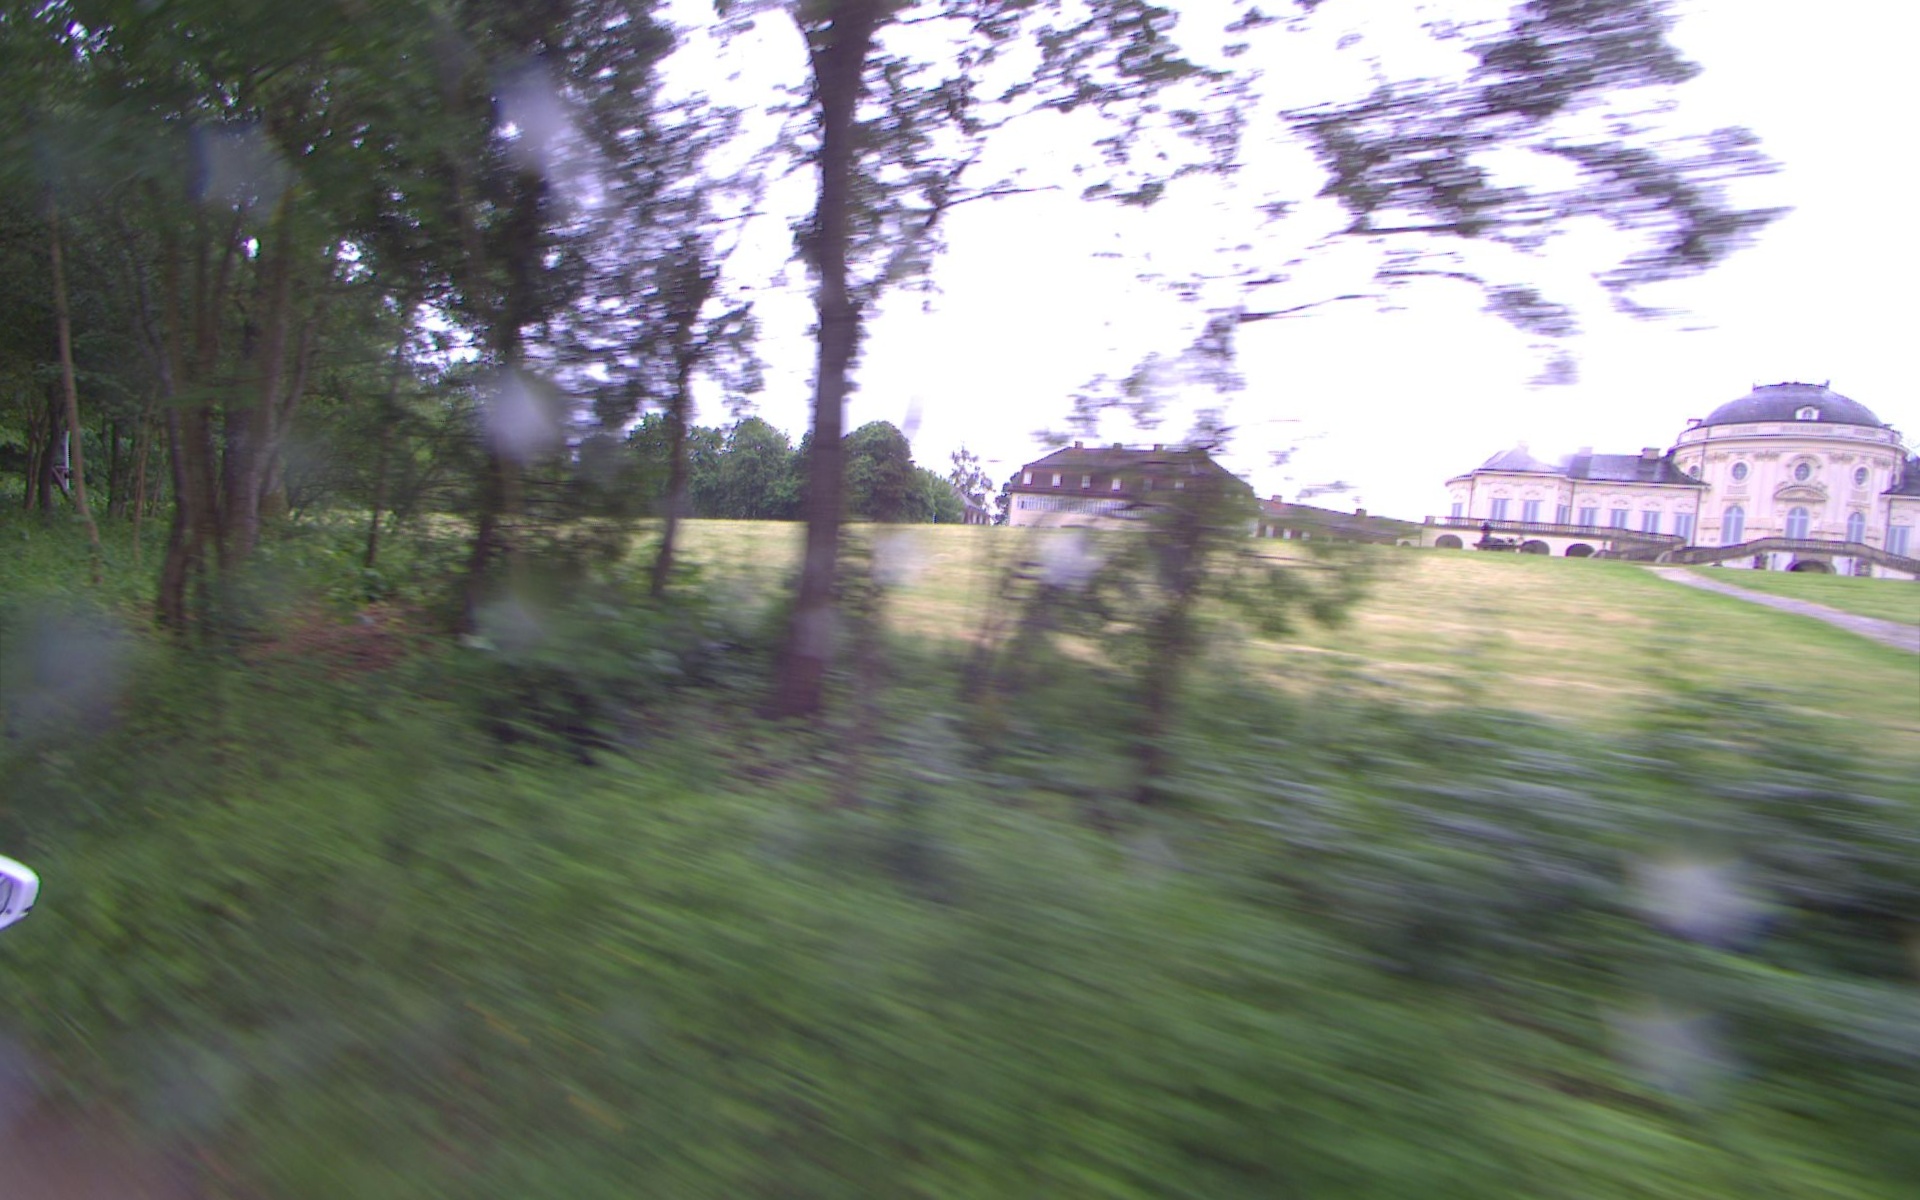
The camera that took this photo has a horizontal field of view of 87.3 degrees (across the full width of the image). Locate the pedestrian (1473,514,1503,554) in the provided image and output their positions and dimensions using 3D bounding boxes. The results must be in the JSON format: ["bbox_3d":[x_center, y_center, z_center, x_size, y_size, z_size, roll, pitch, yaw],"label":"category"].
[{"bbox_3d":[25.044,-3.121,47.703,0.792,1.758,0.924,10,2,44],"label":"pedestrian"}]
